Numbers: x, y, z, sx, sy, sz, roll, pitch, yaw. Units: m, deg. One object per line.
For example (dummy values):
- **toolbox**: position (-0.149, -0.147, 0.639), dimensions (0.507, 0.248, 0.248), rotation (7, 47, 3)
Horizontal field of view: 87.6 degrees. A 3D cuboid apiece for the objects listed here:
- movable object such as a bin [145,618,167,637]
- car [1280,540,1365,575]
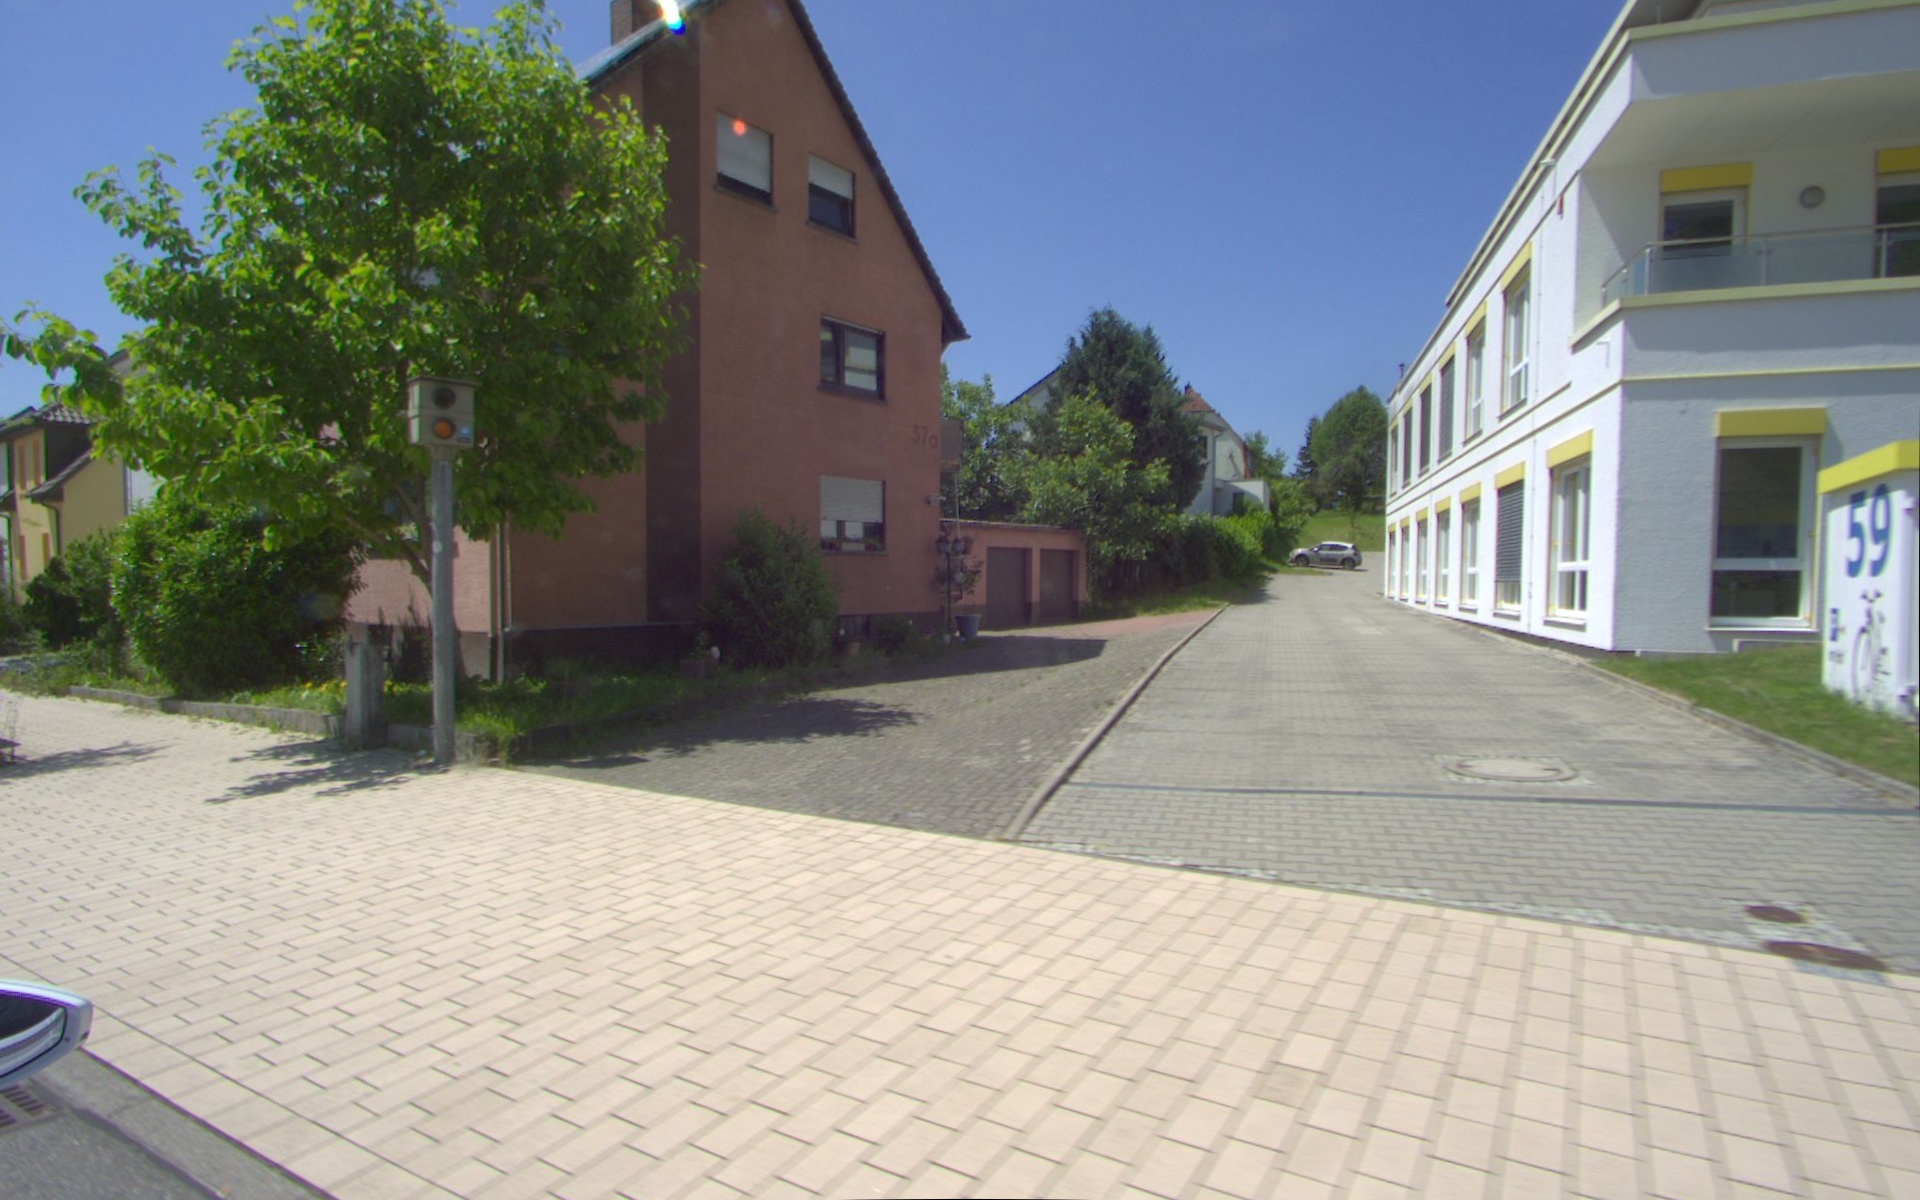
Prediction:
- **movable object such as a bin**: position (-24.619, 0.840, 30.663), dimensions (0.371, 0.579, 0.451), rotation (0, 0, 39)
- **car**: position (20.814, -2.410, 57.480), dimensions (4.351, 1.780, 1.992), rotation (0, -1, 28)
